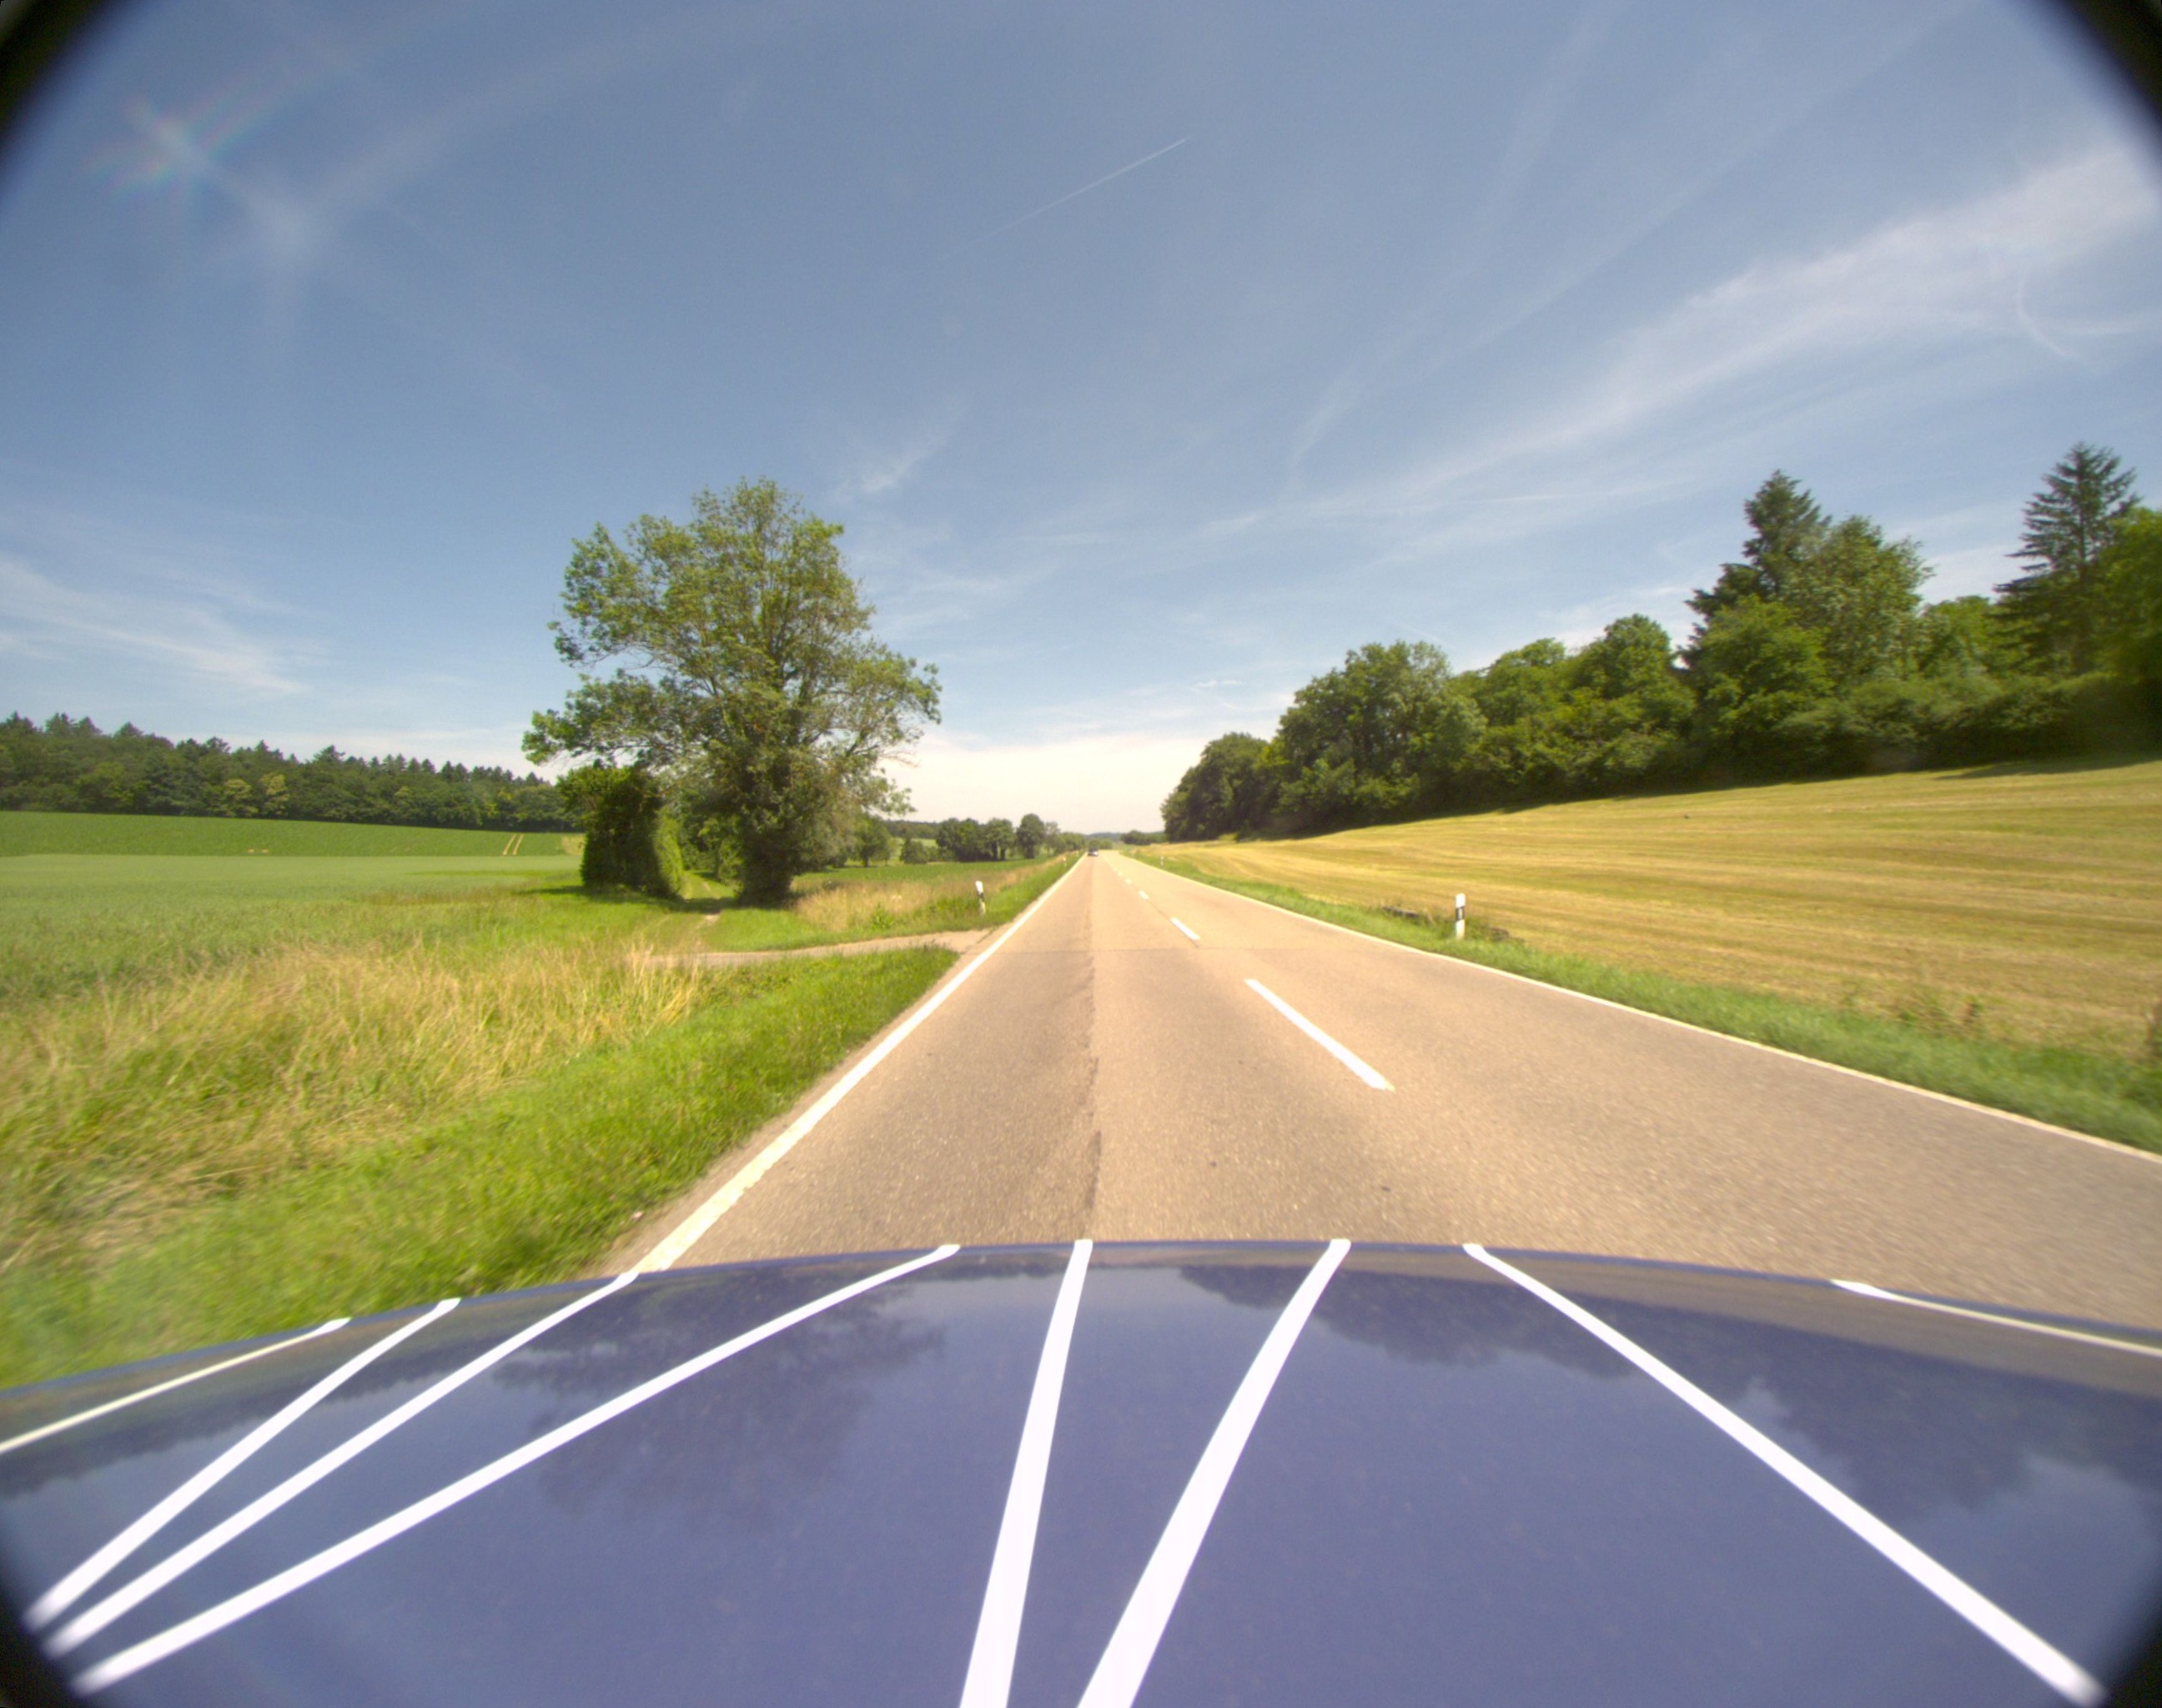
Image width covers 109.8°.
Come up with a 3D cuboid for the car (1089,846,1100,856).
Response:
[{"bbox_3d":[2.359,-0.446,133.150,1.815,1.569,4.156,-2,-2,2],"label":"car"}]
